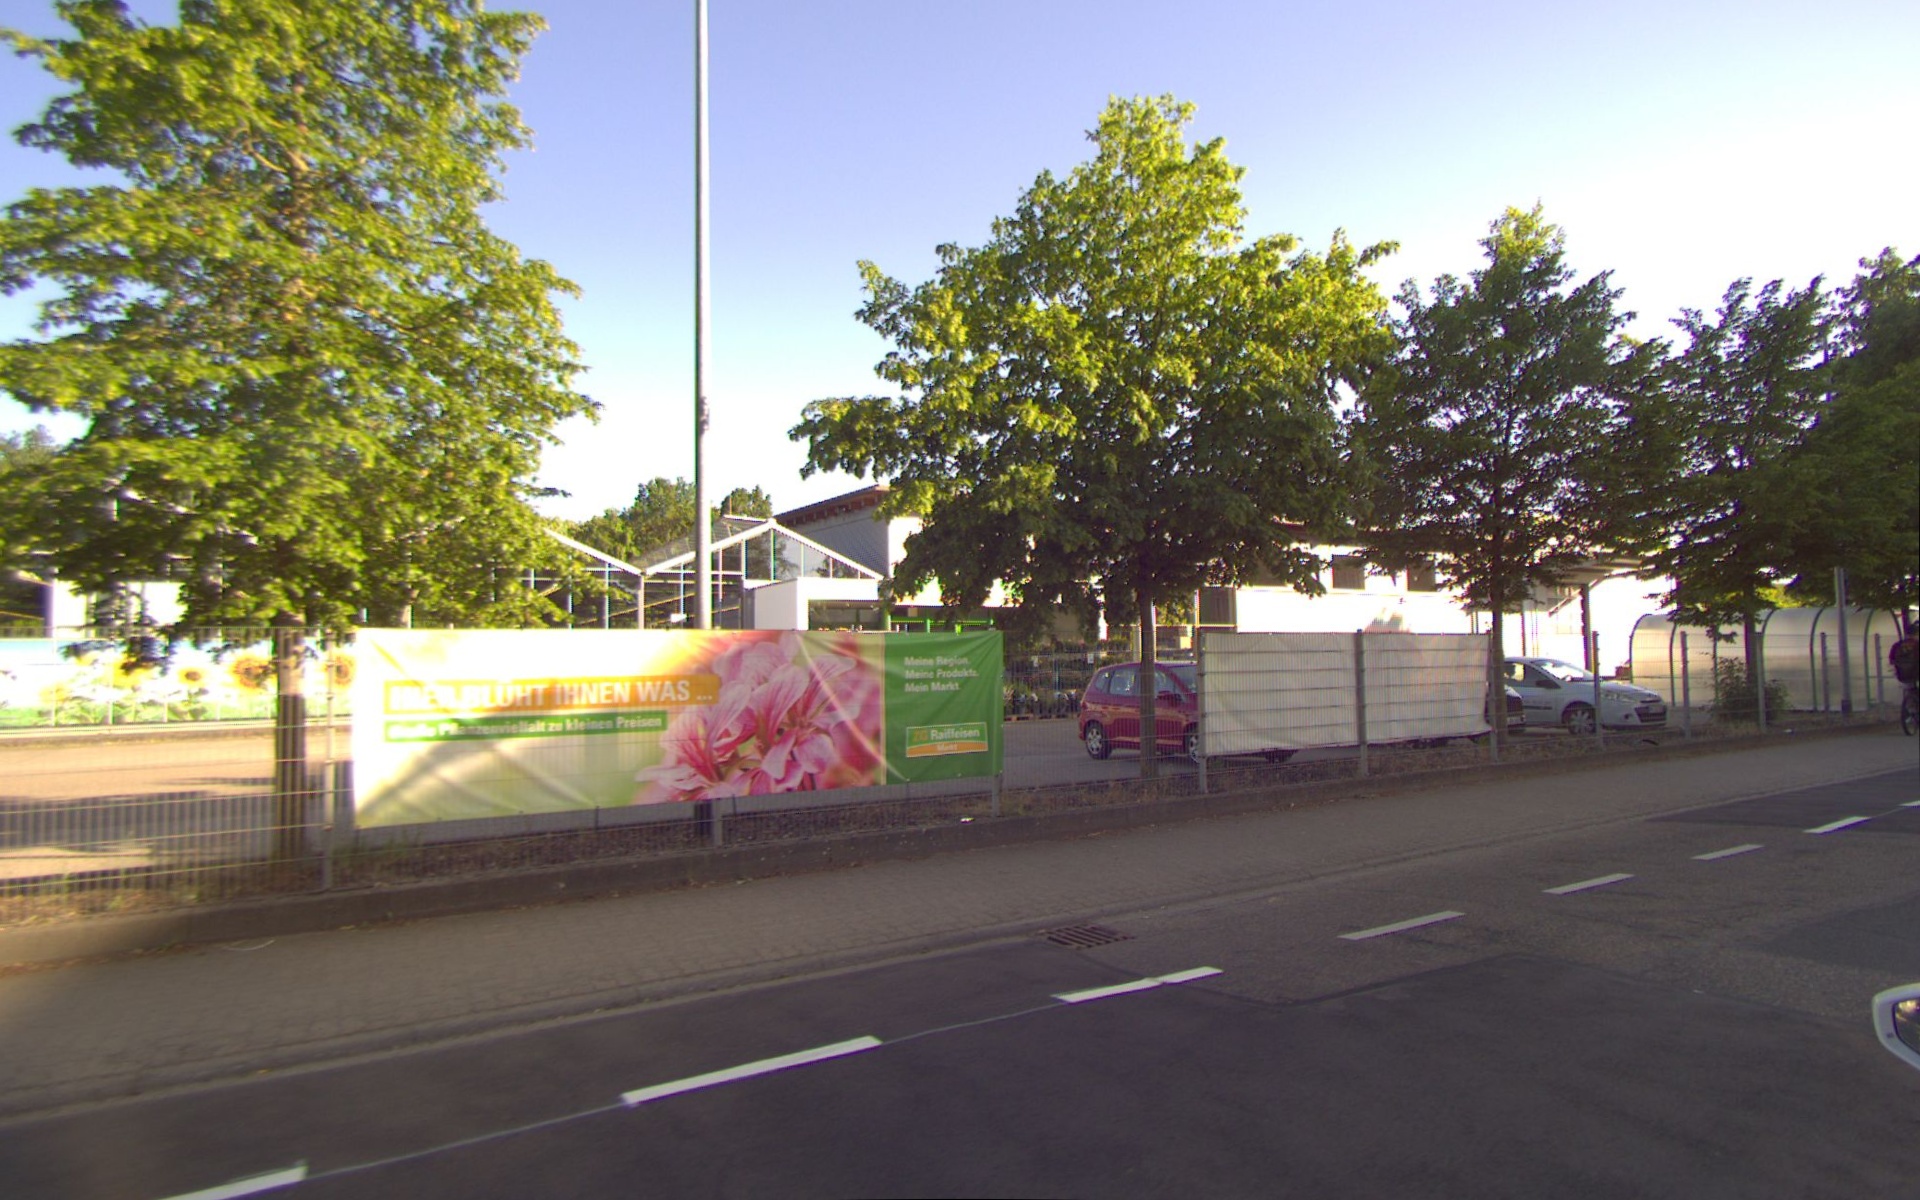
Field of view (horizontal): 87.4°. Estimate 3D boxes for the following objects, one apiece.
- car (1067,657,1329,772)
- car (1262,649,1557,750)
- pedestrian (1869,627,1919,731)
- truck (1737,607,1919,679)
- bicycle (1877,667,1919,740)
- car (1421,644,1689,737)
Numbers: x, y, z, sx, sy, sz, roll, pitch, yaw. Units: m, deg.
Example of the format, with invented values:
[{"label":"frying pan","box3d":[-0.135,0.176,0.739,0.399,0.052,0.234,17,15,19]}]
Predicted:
[{"label":"car","box3d":[3.446,1.724,15.229,1.784,1.469,3.713,0,-6,-29]},{"label":"car","box3d":[7.554,1.729,17.308,2.030,1.469,4.167,1,-6,-31]},{"label":"pedestrian","box3d":[16.512,1.358,17.445,1.045,1.743,0.717,1,-4,-30]},{"label":"truck","box3d":[48.923,2.365,54.762,2.744,3.661,10.052,2,-3,-30]},{"label":"bicycle","box3d":[16.604,1.773,17.443,1.847,1.163,0.467,1,-2,-31]},{"label":"car","box3d":[11.002,1.731,18.832,1.766,1.530,3.871,1,-7,-32]}]
